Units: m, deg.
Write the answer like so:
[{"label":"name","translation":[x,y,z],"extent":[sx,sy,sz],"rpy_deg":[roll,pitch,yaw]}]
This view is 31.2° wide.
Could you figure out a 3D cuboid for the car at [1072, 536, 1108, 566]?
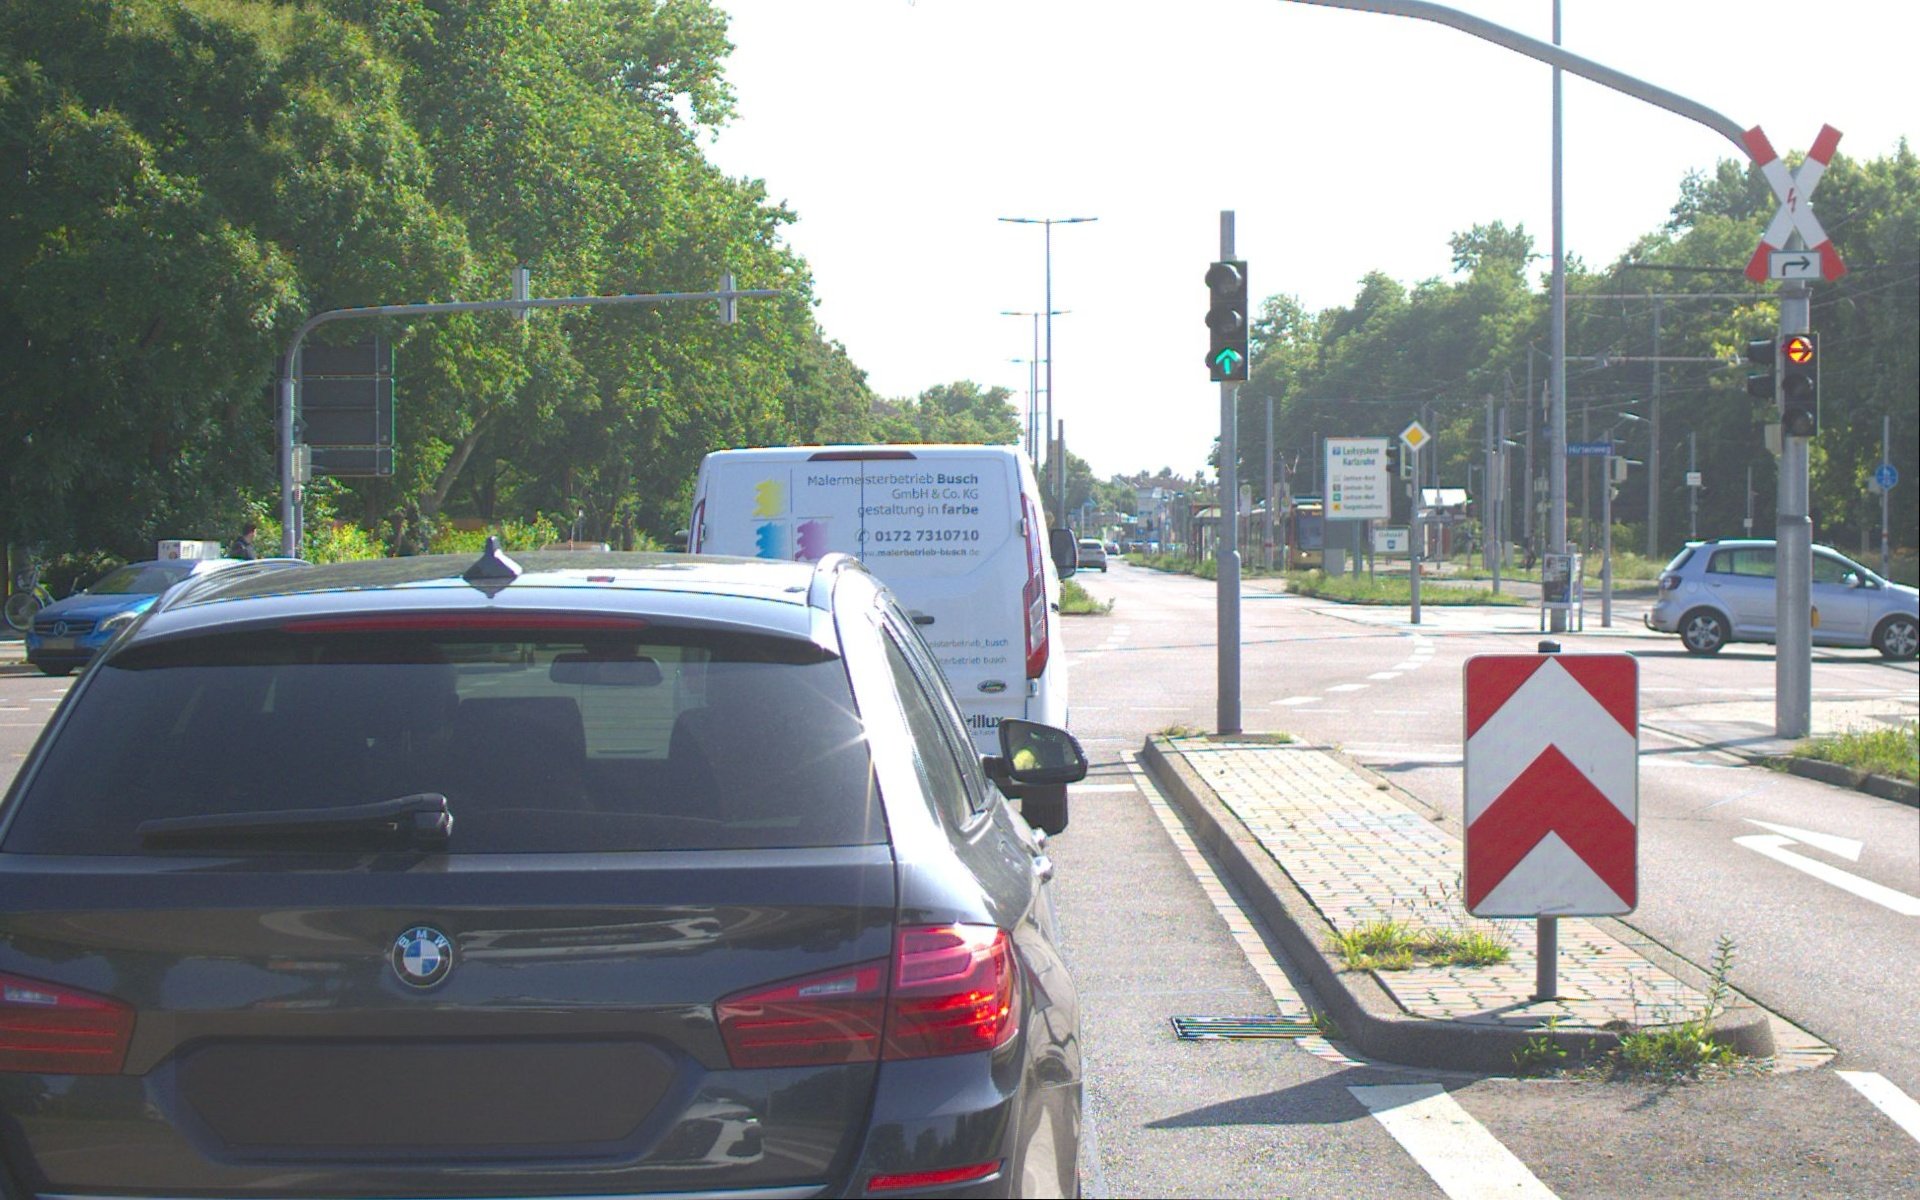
[{"label":"car","translation":[6.492,-2.453,171.624],"extent":[1.793,1.481,3.899],"rpy_deg":[0,1,2]}]

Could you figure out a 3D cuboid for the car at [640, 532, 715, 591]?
[{"label":"car","translation":[-7.446,-1.037,90.879],"extent":[1.788,1.515,4.001],"rpy_deg":[-1,1,-2]}]

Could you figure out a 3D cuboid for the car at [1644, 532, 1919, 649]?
[{"label":"car","translation":[11.575,-0.148,47.147],"extent":[4.193,1.557,1.855],"rpy_deg":[0,1,15]}]

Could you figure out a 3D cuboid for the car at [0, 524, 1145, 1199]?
[{"label":"car","translation":[-0.727,0.613,6.509],"extent":[1.903,1.500,4.065],"rpy_deg":[0,1,0]}]

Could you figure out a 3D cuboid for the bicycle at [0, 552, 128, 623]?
[{"label":"bicycle","translation":[-14.266,-0.198,54.664],"extent":[1.909,1.115,0.632],"rpy_deg":[0,1,0]}]

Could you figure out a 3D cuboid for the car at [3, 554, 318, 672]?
[{"label":"car","translation":[-10.223,0.133,44.276],"extent":[1.781,1.410,4.239],"rpy_deg":[0,1,23]}]

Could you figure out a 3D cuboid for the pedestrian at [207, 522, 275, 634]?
[{"label":"pedestrian","translation":[-11.406,-0.356,54.575],"extent":[0.816,1.746,0.931],"rpy_deg":[0,1,5]}]

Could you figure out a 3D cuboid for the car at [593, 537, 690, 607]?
[{"label":"car","translation":[-6.954,-0.640,75.353],"extent":[1.888,1.469,4.100],"rpy_deg":[-1,1,-2]}]

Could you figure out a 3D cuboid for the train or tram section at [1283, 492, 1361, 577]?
[{"label":"train or tram section","translation":[16.042,-2.854,153.178],"extent":[2.796,3.606,12.954],"rpy_deg":[1,1,3]}]

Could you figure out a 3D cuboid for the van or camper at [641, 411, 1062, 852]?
[{"label":"van or camper","translation":[-0.476,0.103,18.596],"extent":[1.993,2.089,4.598],"rpy_deg":[0,1,1]}]

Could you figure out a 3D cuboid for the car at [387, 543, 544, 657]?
[{"label":"car","translation":[-6.834,-0.036,47.857],"extent":[1.702,1.460,4.370],"rpy_deg":[-2,1,-2]}]

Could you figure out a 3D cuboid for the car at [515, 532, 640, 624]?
[{"label":"car","translation":[-6.891,-0.425,62.254],"extent":[1.745,1.556,4.000],"rpy_deg":[-2,1,0]}]
